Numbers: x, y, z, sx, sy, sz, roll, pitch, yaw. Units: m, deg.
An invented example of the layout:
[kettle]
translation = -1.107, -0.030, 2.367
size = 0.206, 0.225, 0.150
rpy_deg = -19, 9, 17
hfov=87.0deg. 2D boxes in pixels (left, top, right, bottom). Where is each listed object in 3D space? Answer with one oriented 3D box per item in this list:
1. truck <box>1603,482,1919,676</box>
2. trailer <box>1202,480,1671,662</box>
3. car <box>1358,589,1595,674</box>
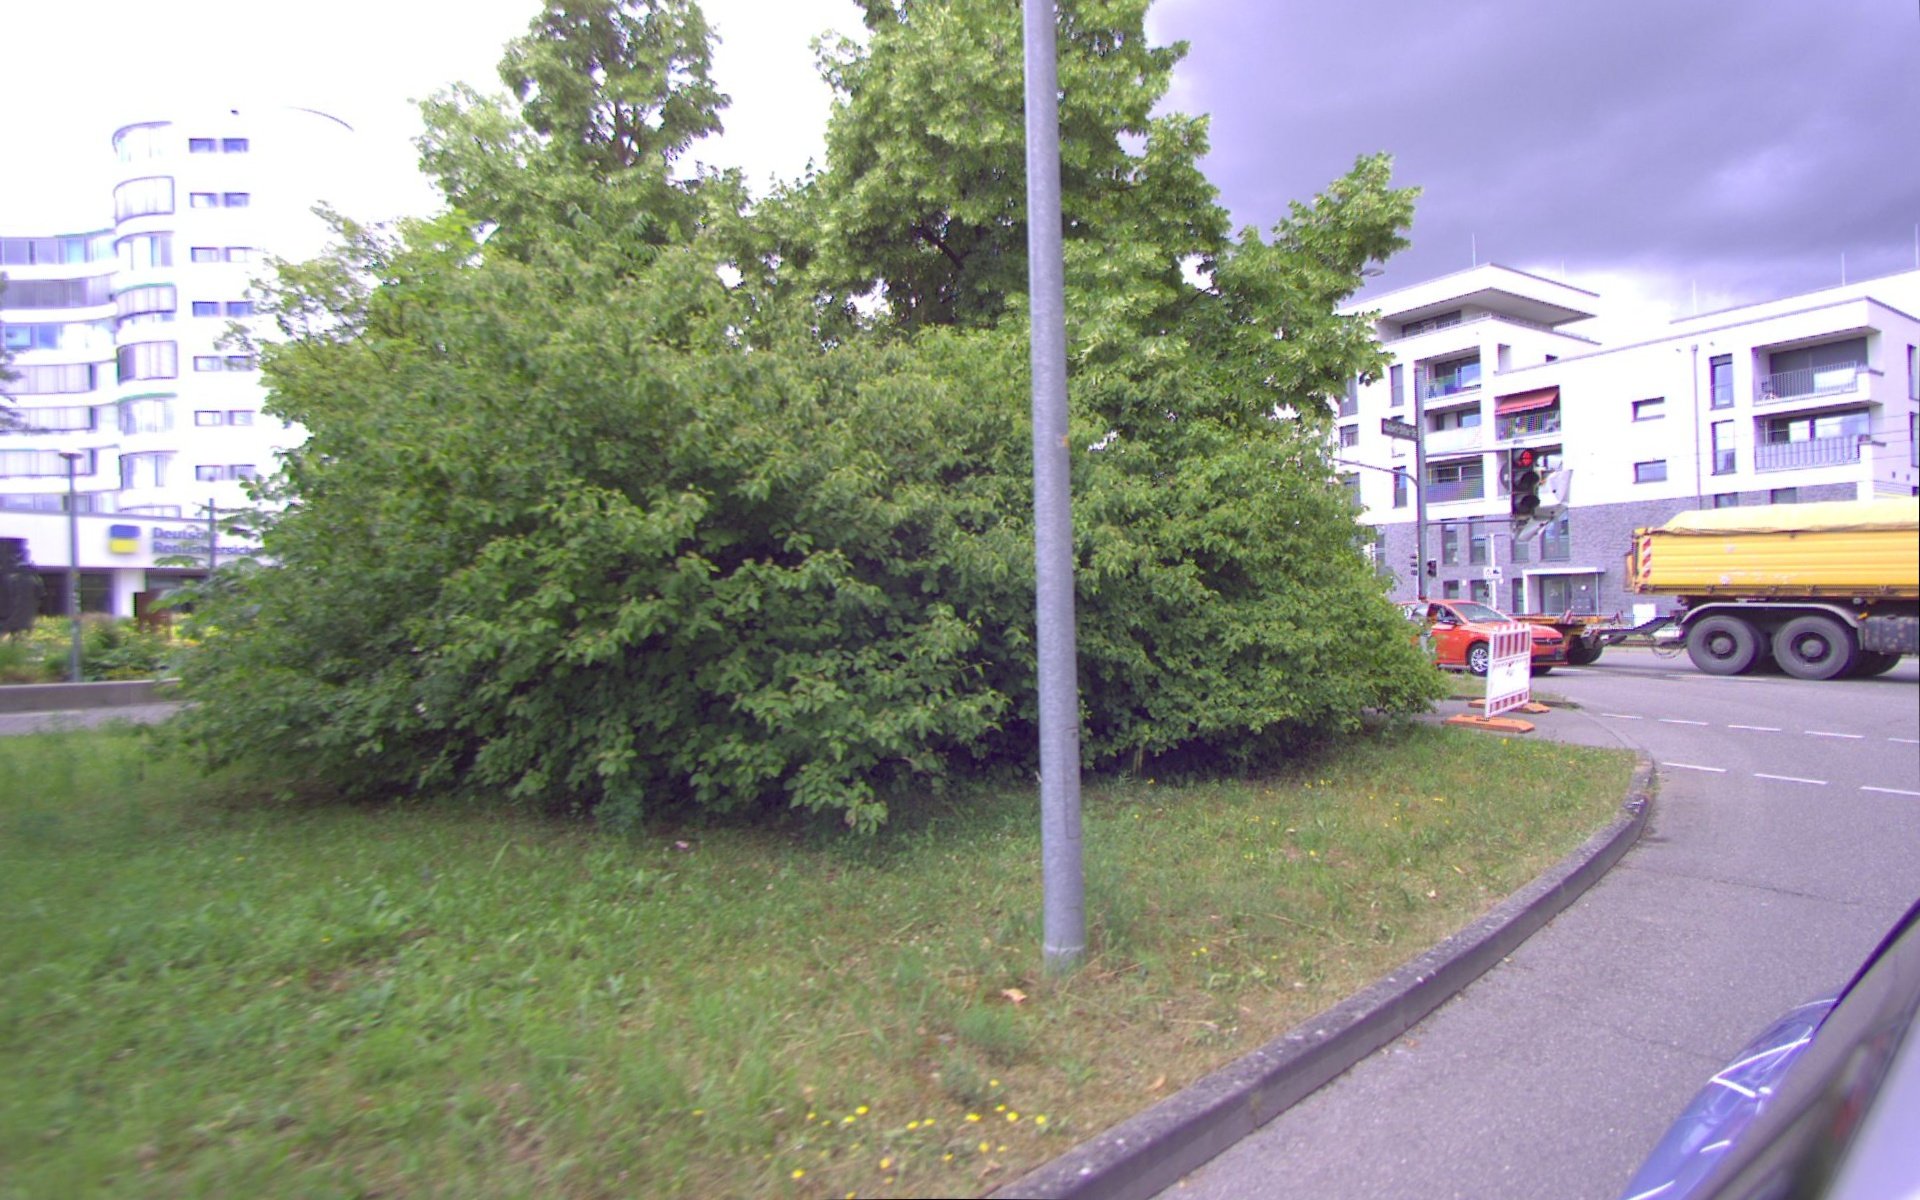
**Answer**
[truck]
translation = 15.762, -0.342, 17.210
size = 2.675, 3.041, 7.785
rpy_deg = -1, 0, -31
[trailer]
translation = 10.961, -0.543, 25.252
size = 2.661, 3.566, 10.922
rpy_deg = -1, 0, -31
[car]
translation = 10.046, 0.543, 20.012
size = 1.659, 1.498, 4.007
rpy_deg = -1, 0, -25
